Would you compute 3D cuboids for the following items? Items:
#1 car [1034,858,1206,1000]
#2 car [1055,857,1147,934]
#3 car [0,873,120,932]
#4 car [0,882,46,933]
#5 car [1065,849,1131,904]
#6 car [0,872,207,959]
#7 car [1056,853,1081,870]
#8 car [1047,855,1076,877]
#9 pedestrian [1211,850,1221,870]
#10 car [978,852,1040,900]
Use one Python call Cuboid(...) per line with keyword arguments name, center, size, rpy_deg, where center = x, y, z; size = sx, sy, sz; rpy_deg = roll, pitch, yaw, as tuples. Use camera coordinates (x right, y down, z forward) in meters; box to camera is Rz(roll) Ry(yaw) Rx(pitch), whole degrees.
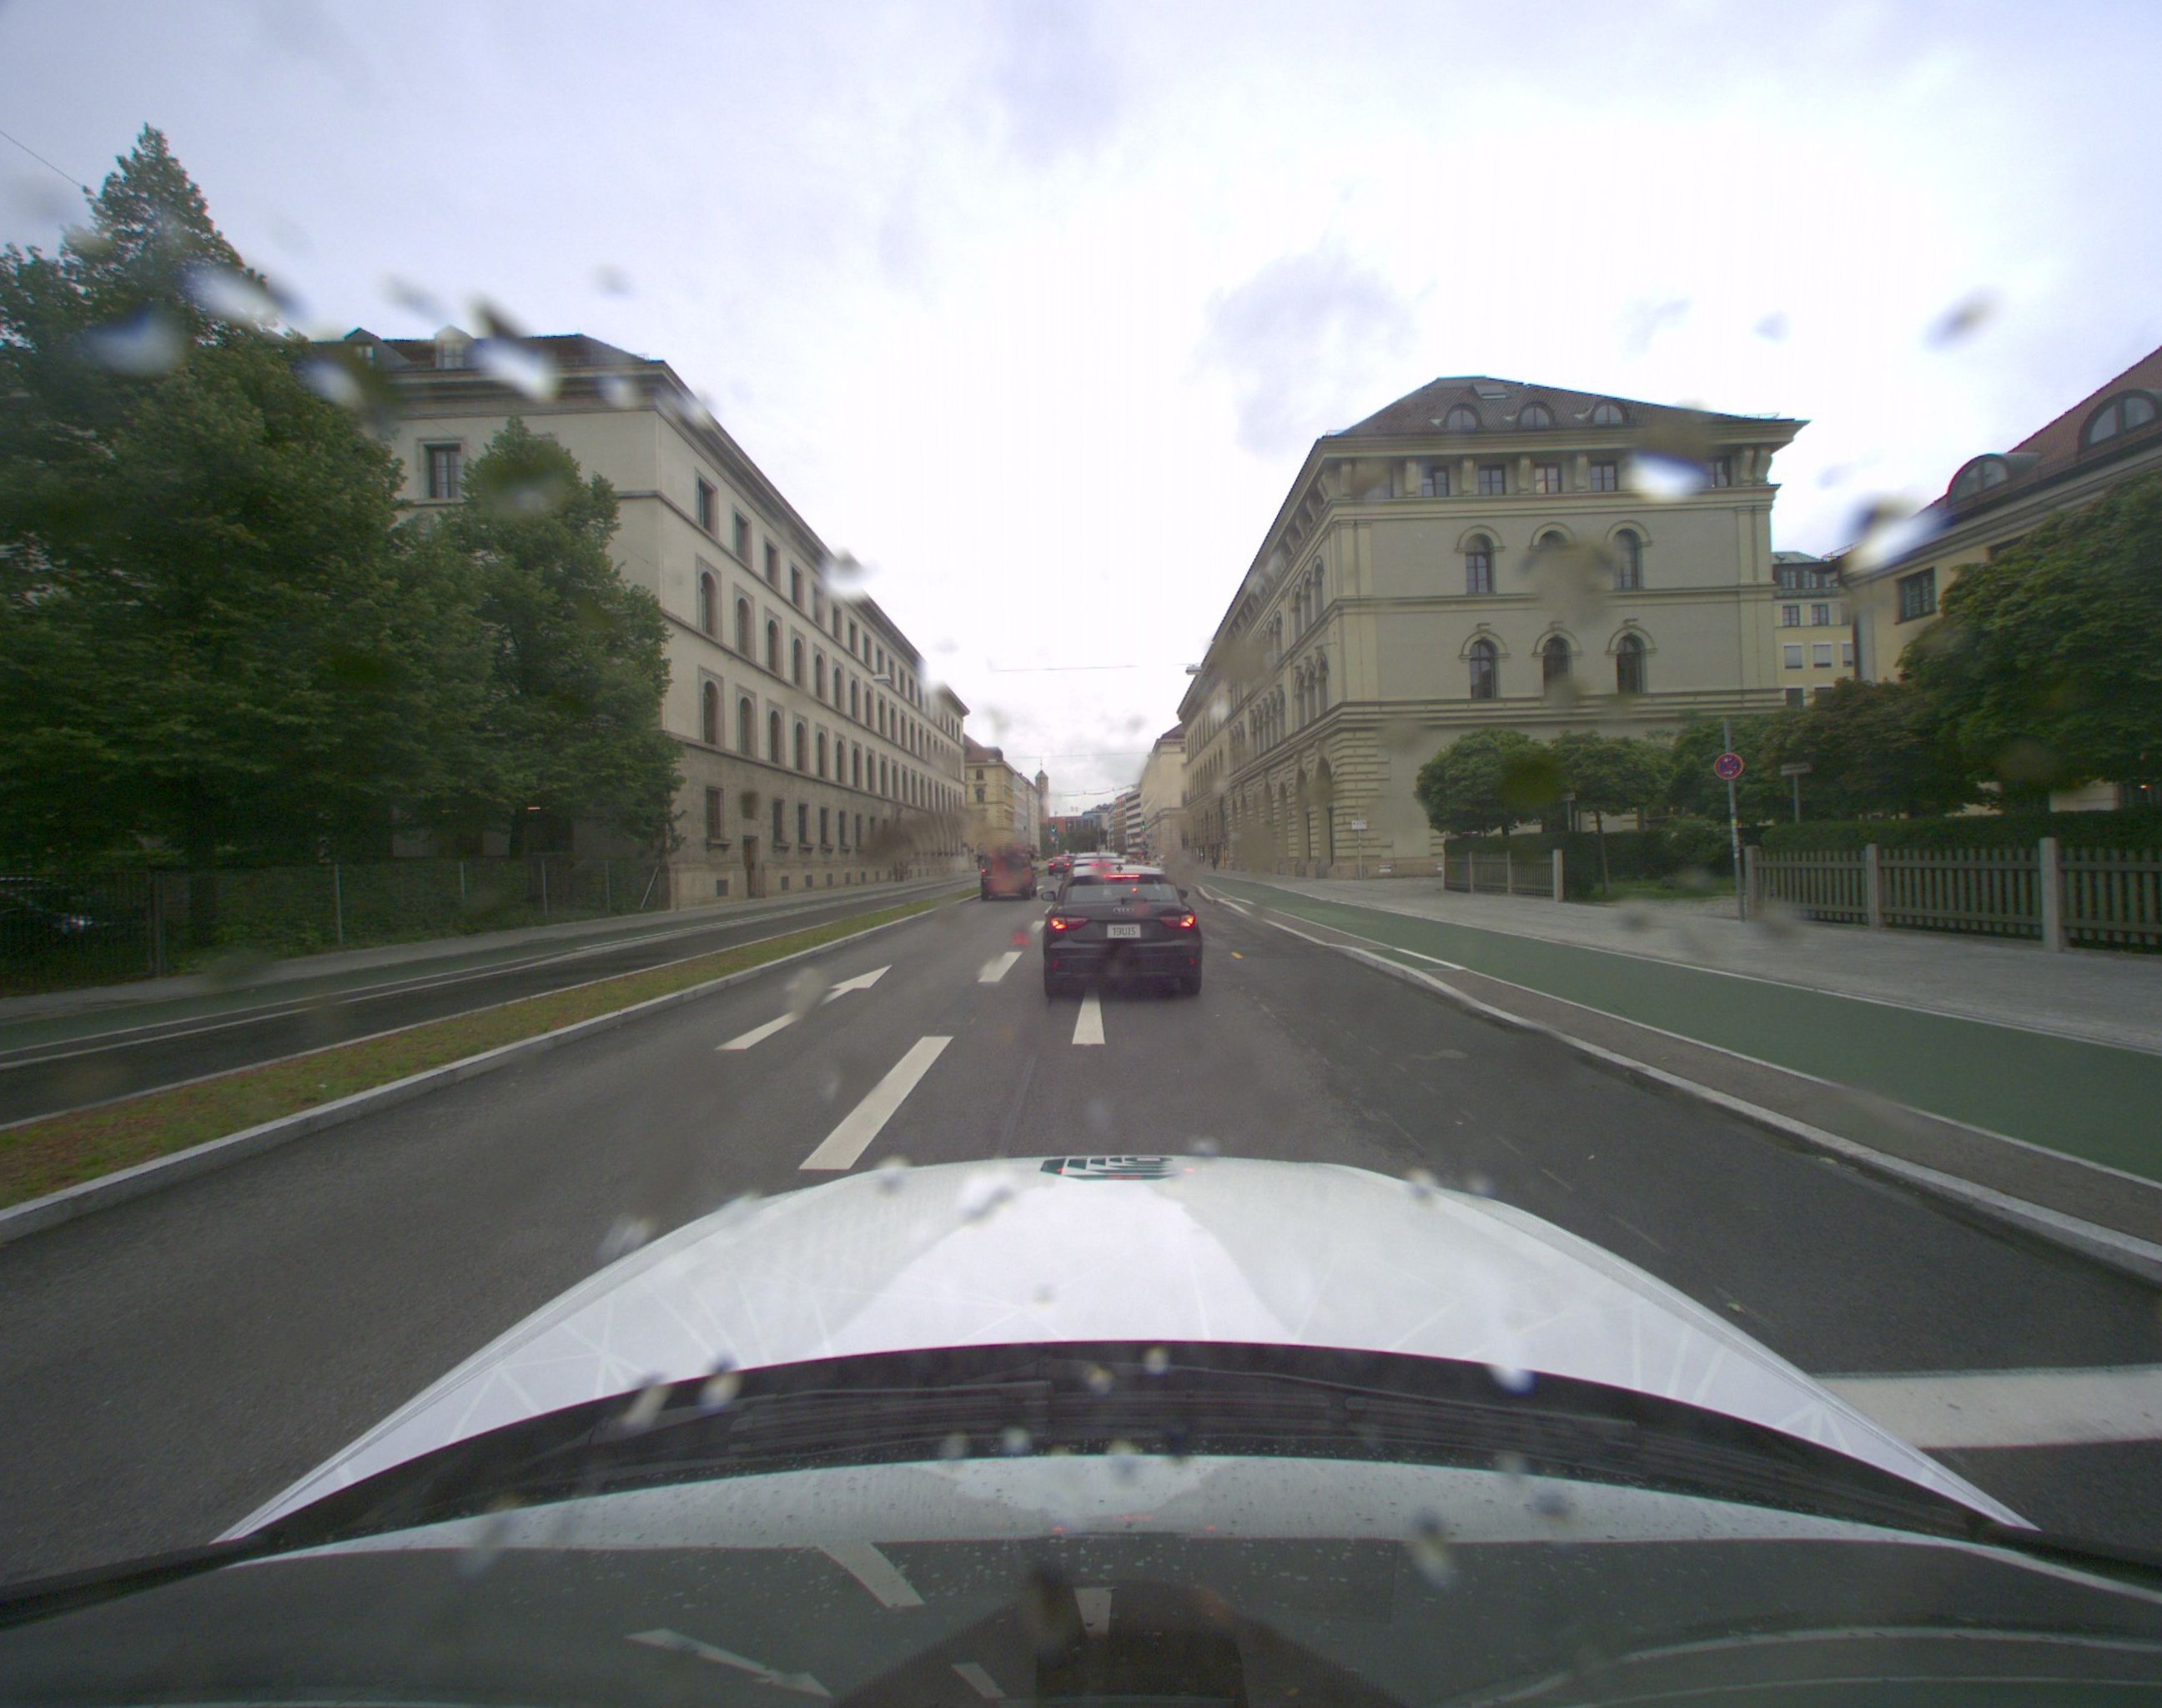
Cuboid(name="car", center=(0.442, 0.763, 10.205), size=(1.724, 1.403, 4.001), rpy_deg=(0, 0, 1))
Cuboid(name="car", center=(0.422, 0.784, 17.276), size=(1.724, 1.403, 4.001), rpy_deg=(0, 0, 1))
Cuboid(name="car", center=(-31.677, 1.434, 24.103), size=(1.659, 1.640, 4.001), rpy_deg=(-1, 0, 1))
Cuboid(name="car", center=(-34.199, 1.681, 24.185), size=(1.764, 1.544, 4.001), rpy_deg=(-2, 0, 1))
Cuboid(name="car", center=(0.502, 0.602, 23.686), size=(1.724, 1.461, 4.001), rpy_deg=(0, 0, 1))
Cuboid(name="car", center=(-21.816, 1.300, 17.426), size=(4.247, 1.649, 1.805), rpy_deg=(-2, 0, 1))
Cuboid(name="car", center=(-1.089, 0.682, 73.718), size=(1.986, 1.444, 4.002), rpy_deg=(-2, 0, 2))
Cuboid(name="car", center=(-1.491, 0.899, 64.397), size=(1.986, 1.627, 4.002), rpy_deg=(-2, 0, 2))
Cuboid(name="pedestrian", center=(11.246, 0.476, 67.888), size=(0.707, 1.618, 0.754), rpy_deg=(-2, 0, 1))
Cuboid(name="car", center=(-2.523, 0.735, 29.464), size=(1.758, 1.616, 4.031), rpy_deg=(-1, 0, 1))
